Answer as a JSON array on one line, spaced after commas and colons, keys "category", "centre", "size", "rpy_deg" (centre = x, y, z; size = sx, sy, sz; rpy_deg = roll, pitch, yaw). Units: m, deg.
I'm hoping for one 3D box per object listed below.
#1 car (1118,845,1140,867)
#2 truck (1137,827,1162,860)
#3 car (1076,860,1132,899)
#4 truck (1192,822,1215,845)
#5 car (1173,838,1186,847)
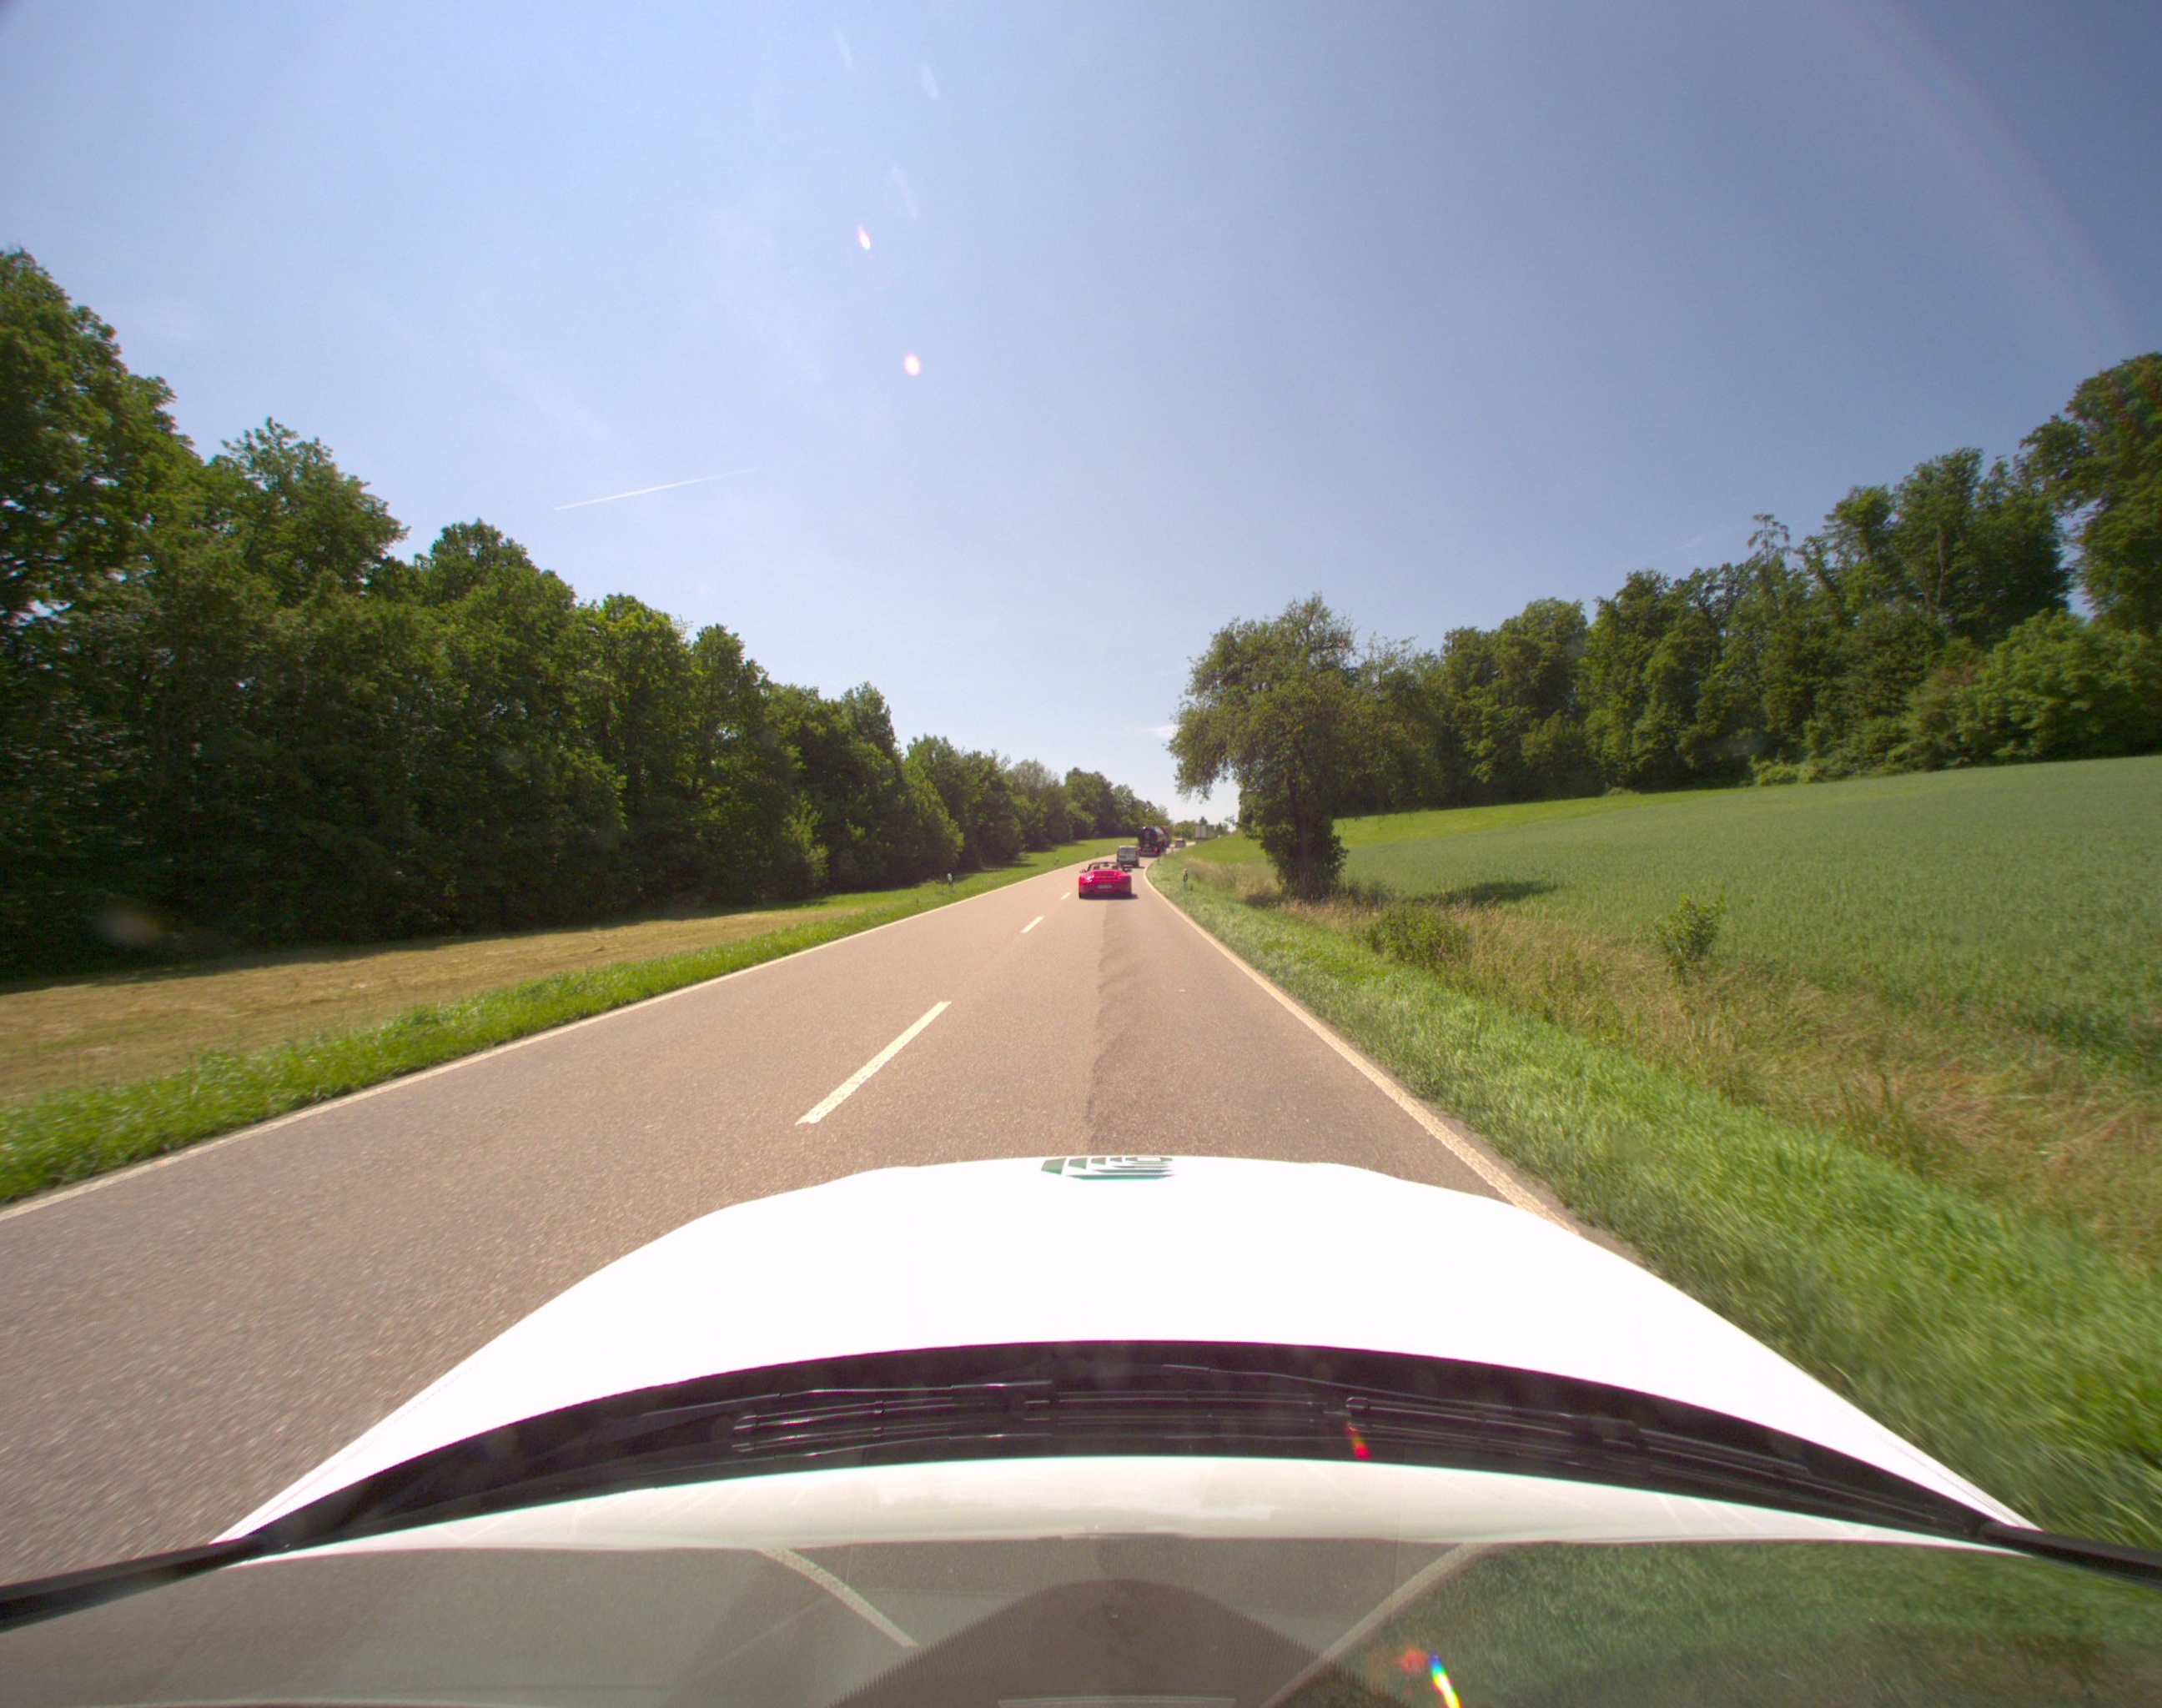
[{"category": "car", "centre": [4.295, 0.134, 72.576], "size": [1.669, 1.900, 4.018], "rpy_deg": [-1, 1, 7]}, {"category": "truck", "centre": [9.048, -1.387, 106.771], "size": [2.390, 4.049, 12.581], "rpy_deg": [-1, 0, 9]}, {"category": "car", "centre": [0.833, 0.861, 29.546], "size": [1.876, 1.255, 4.011], "rpy_deg": [-1, 0, 1]}, {"category": "truck", "centre": [26.089, -4.314, 173.052], "size": [3.699, 4.660, 12.076], "rpy_deg": [-1, 2, 13]}, {"category": "car", "centre": [17.083, -1.950, 140.995], "size": [1.818, 1.513, 4.207], "rpy_deg": [-1, 2, 14]}]
